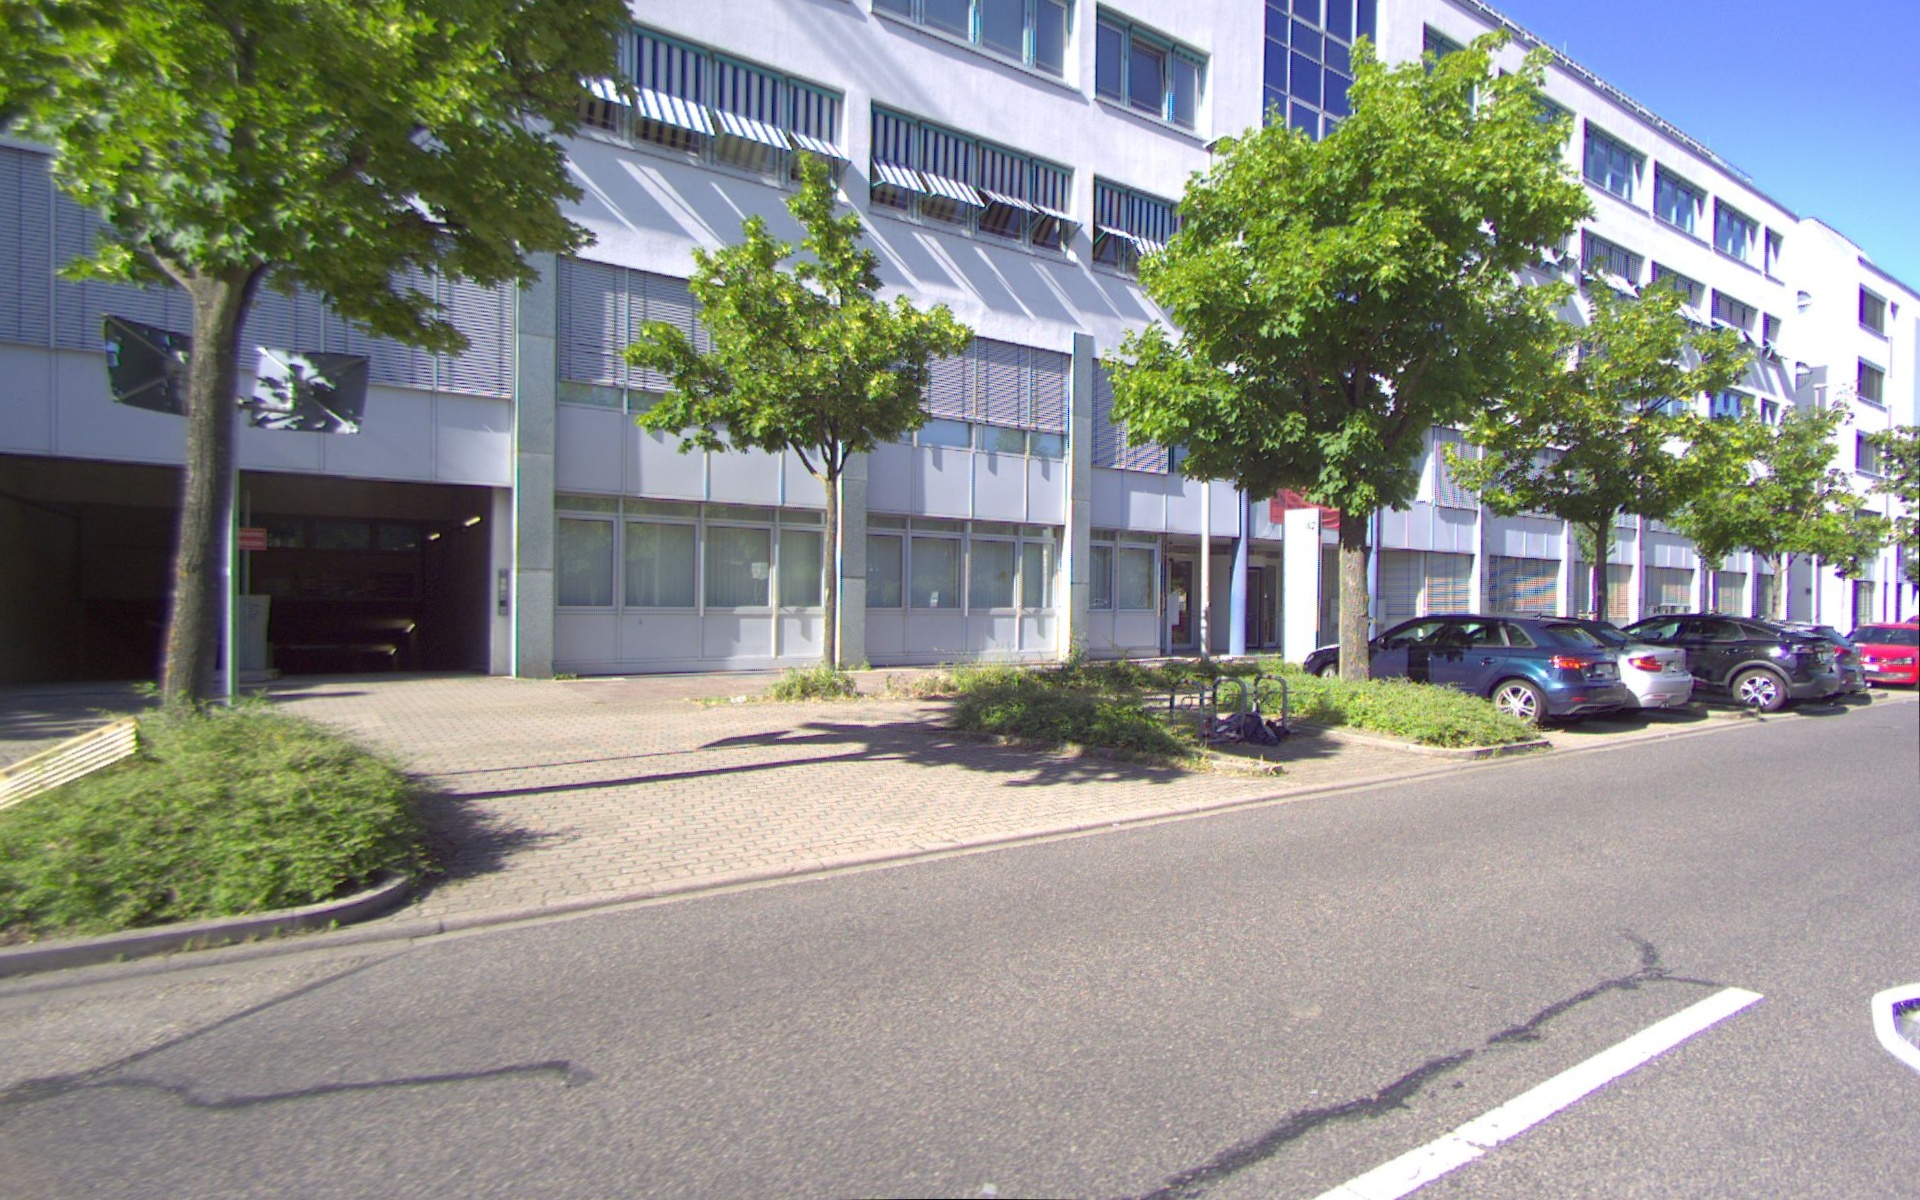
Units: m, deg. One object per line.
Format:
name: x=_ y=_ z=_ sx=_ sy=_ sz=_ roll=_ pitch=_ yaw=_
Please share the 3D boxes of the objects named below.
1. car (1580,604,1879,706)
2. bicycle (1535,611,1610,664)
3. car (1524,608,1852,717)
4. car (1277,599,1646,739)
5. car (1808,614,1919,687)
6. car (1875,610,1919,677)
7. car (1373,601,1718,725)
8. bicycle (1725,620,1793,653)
car: x=14.959 y=0.981 z=19.763 sx=1.678 sy=1.559 sz=4.351 roll=1 pitch=2 yaw=-38
bicycle: x=16.380 y=0.989 z=26.853 sx=2.205 sy=1.365 sz=0.706 roll=1 pitch=-1 yaw=-29
car: x=12.662 y=0.989 z=17.760 sx=1.677 sy=1.451 sz=4.354 roll=1 pitch=2 yaw=-36
car: x=6.847 y=0.828 z=14.189 sx=1.677 sy=1.451 sz=4.354 roll=1 pitch=2 yaw=-36
car: x=21.311 y=1.116 z=23.155 sx=3.831 sy=1.451 sz=1.677 roll=1 pitch=2 yaw=-34
car: x=25.552 y=1.130 z=26.158 sx=4.269 sy=1.629 sz=1.676 roll=1 pitch=2 yaw=-36
car: x=8.961 y=0.867 z=15.767 sx=1.676 sy=1.451 sz=4.356 roll=1 pitch=2 yaw=-34
bicycle: x=27.078 y=1.226 z=34.072 sx=0.548 sy=1.083 sz=1.761 roll=1 pitch=-1 yaw=-26
